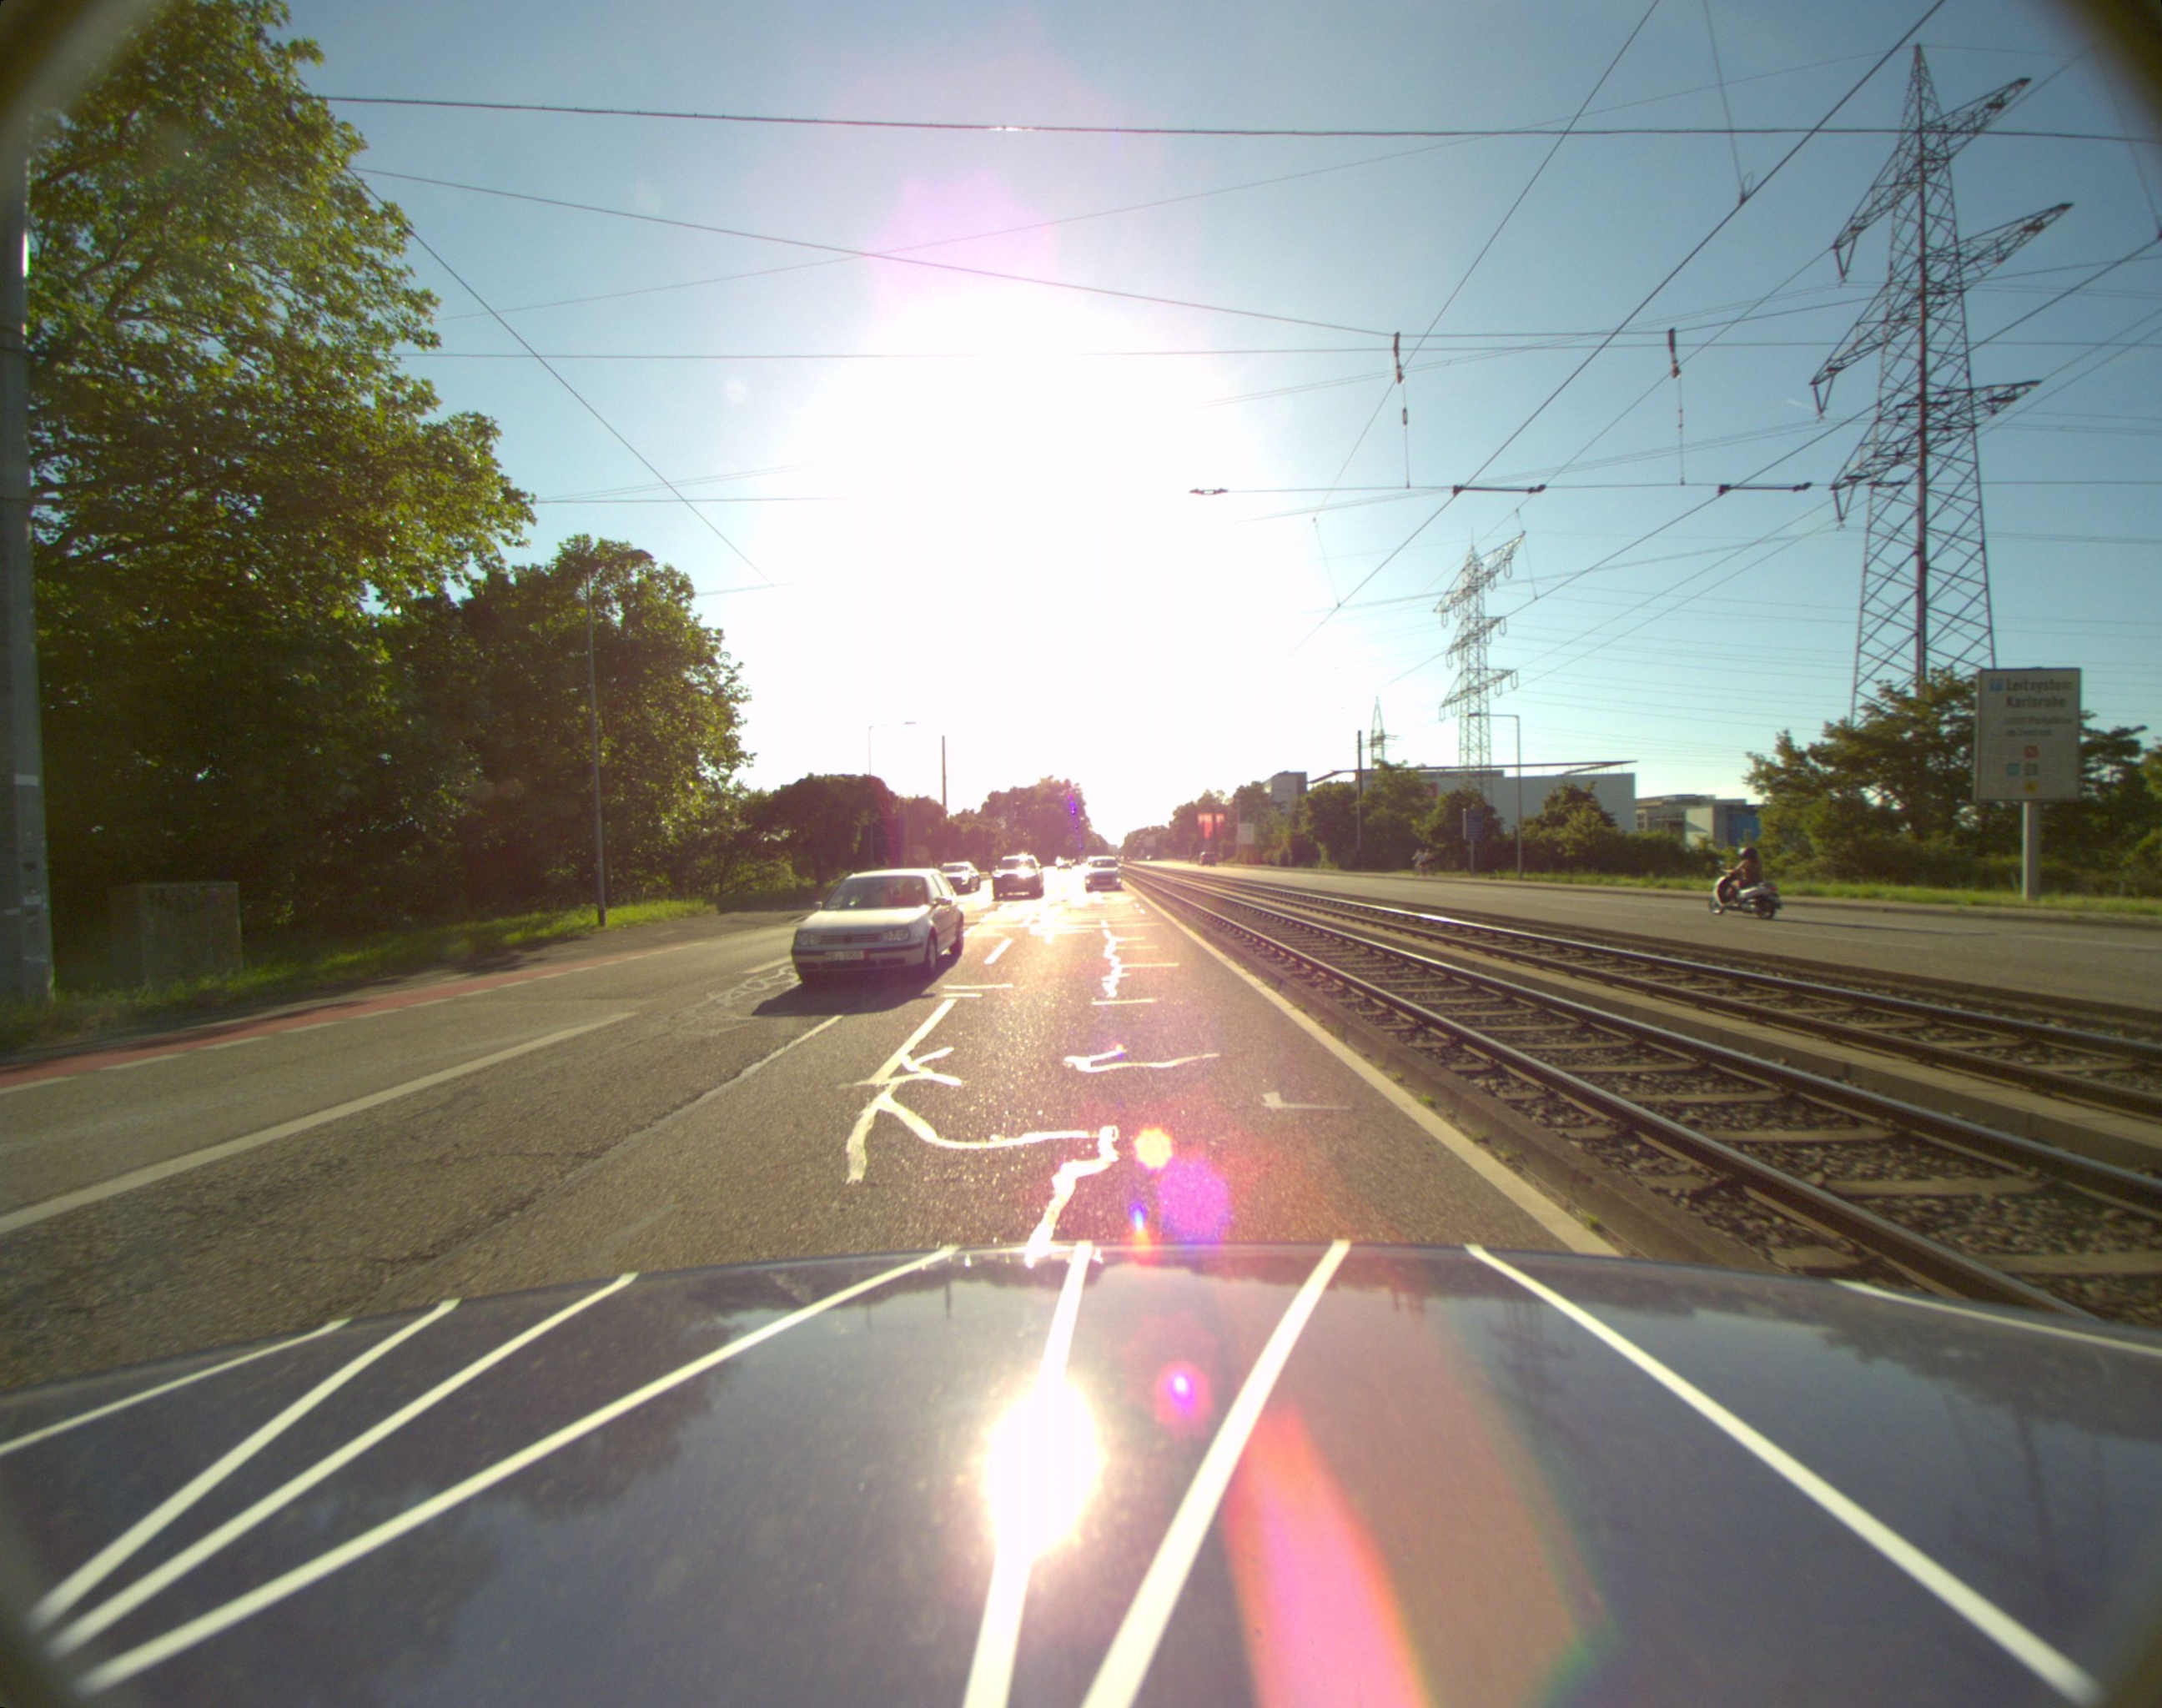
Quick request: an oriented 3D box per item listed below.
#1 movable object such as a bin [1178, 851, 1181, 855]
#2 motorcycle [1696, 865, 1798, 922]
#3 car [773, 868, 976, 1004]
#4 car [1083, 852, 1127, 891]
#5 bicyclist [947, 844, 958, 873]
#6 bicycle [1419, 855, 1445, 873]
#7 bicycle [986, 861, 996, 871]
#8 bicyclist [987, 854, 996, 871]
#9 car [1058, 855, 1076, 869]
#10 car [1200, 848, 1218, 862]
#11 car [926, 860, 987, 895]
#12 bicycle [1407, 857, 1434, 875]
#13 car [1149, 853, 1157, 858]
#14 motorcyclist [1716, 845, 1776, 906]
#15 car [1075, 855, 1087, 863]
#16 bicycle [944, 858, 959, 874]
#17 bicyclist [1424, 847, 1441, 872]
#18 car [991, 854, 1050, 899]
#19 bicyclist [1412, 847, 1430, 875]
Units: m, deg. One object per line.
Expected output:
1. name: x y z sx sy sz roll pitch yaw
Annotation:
1. movable object such as a bin: 23.528 -0.262 181.007 0.614 0.960 1.083 -3 1 1
2. motorcycle: 14.379 0.817 16.471 0.537 1.084 1.902 -3 1 1
3. car: -2.742 1.016 11.050 1.695 1.437 4.001 -2 1 2
4. car: 1.140 0.748 35.198 1.881 1.591 4.416 -2 1 2
5. bicyclist: -9.061 0.335 53.464 0.528 2.005 0.729 -3 1 2
6. bicycle: 21.480 0.585 46.487 0.591 1.016 2.185 -1 1 0
7. bicycle: -8.401 1.119 70.897 0.628 0.829 1.635 2 1 3
8. bicyclist: -8.380 0.782 70.974 0.628 1.463 1.060 2 1 3
9. car: -1.700 0.962 91.581 1.881 1.449 4.416 -2 1 2
10. car: 17.952 0.160 106.772 1.998 1.911 4.862 -1 -1 2
11. car: -5.942 1.075 36.870 1.881 1.435 4.660 -2 1 3
12. bicycle: 20.224 0.709 45.307 0.591 1.016 2.185 -1 1 0
13. car: 23.323 0.466 247.340 1.999 1.616 4.681 -1 1 -2
14. motorcyclist: 14.356 0.454 16.418 0.537 1.263 0.805 -3 1 1
15. car: -0.021 1.064 150.837 1.880 1.449 4.417 -2 1 5
16. bicycle: -9.046 0.856 53.148 0.528 1.054 1.971 -3 0 2
17. bicyclist: 21.471 0.331 46.396 0.591 1.519 0.906 -1 1 0
18. car: -2.404 0.873 31.280 1.881 1.591 4.416 -2 1 2
19. bicyclist: 20.218 0.400 45.171 0.591 1.601 0.967 -1 1 0
